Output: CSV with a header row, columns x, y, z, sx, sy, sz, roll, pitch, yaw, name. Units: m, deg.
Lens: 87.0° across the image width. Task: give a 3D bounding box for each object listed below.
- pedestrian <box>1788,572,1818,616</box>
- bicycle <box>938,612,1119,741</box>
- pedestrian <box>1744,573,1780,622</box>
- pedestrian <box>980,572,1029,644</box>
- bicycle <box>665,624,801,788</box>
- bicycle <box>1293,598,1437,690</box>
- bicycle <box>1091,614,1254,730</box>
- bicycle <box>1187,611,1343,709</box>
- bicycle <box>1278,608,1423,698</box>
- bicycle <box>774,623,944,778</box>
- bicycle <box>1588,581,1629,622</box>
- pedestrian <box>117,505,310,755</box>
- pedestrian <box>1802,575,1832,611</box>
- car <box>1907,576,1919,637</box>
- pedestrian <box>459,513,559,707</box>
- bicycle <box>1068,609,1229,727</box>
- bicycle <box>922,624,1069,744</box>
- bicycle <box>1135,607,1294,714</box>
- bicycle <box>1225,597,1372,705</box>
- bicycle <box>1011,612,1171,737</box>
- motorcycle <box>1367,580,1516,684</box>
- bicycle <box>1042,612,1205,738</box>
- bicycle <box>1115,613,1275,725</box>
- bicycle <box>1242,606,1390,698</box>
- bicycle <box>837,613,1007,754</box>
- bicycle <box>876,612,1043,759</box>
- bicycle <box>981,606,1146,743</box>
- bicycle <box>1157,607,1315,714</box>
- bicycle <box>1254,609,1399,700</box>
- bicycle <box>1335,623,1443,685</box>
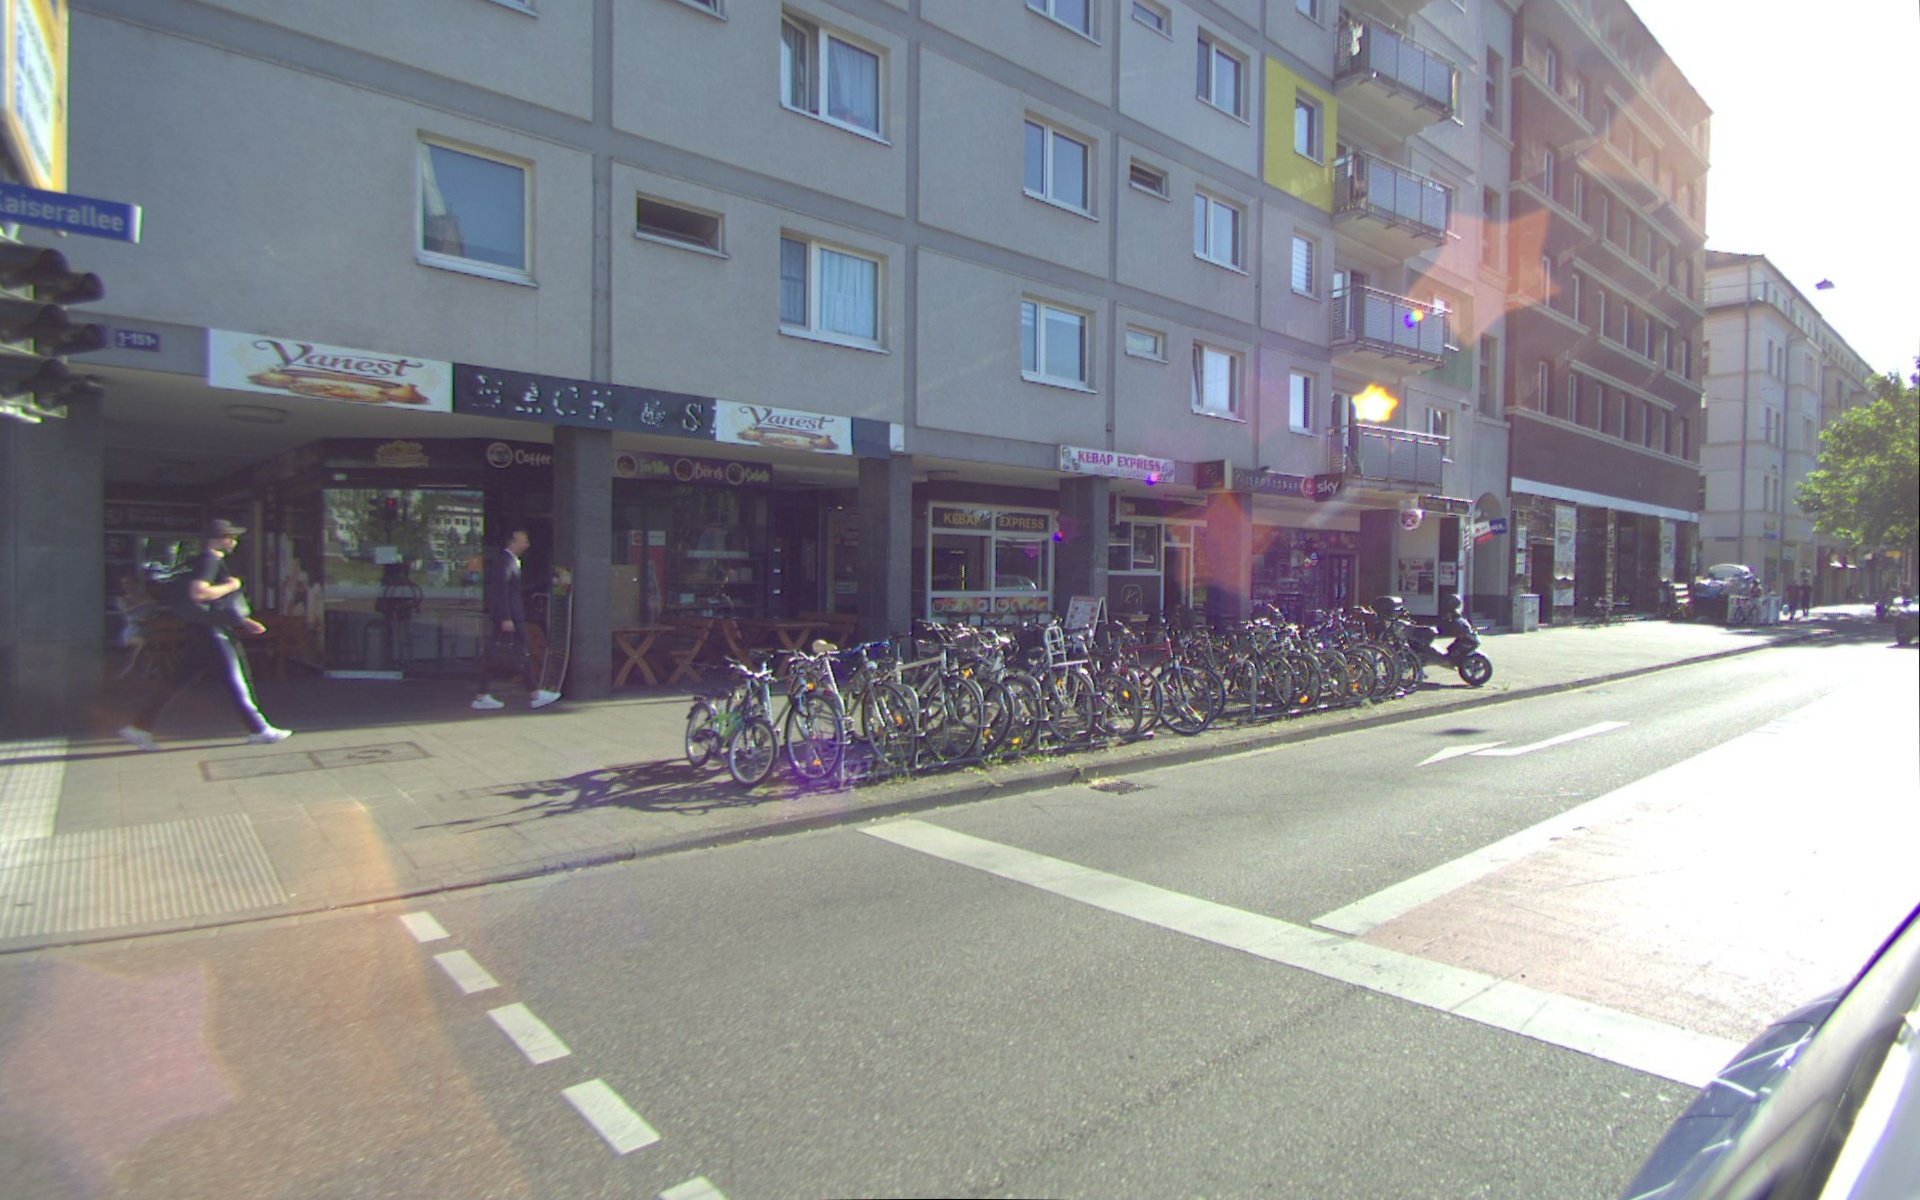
x,y,z,sx,sy,sz,roll,pitch,yaw,name
37.236,-0.280,44.708,0.860,1.907,1.209,1,1,32,pedestrian
0.603,0.669,9.560,0.522,1.096,1.815,-1,0,-44,bicycle
28.043,-0.093,35.396,0.658,1.671,0.774,0,1,-29,pedestrian
0.940,0.149,21.530,0.701,1.493,0.765,0,1,-42,pedestrian
-1.734,0.740,7.591,0.403,1.023,1.432,-1,3,-39,bicycle
5.826,0.595,14.628,1.818,1.189,0.692,2,2,45,bicycle
2.272,0.737,11.020,0.408,1.073,1.820,0,3,-43,bicycle
3.662,0.689,12.282,1.819,1.024,0.409,3,3,45,bicycle
5.242,0.681,13.678,1.819,1.073,0.409,2,2,45,bicycle
-0.855,0.754,8.174,0.404,1.023,1.701,-1,3,-44,bicycle
20.642,0.037,32.201,1.899,1.257,0.597,-1,2,-42,bicycle
-6.062,0.210,8.228,1.190,1.858,0.864,0,1,-42,pedestrian
40.412,-0.345,47.740,0.858,1.669,0.974,1,1,27,pedestrian
28.734,0.181,28.736,4.039,1.708,1.903,0,1,-35,car
-4.683,0.089,10.497,0.857,1.909,0.792,0,1,-31,pedestrian
1.954,0.673,10.734,0.408,1.073,1.821,-1,2,-41,bicycle
0.291,0.727,9.218,0.380,0.978,1.545,-1,0,-41,bicycle
2.880,0.652,11.612,0.409,1.082,1.818,-3,3,-45,bicycle
4.271,0.611,12.889,1.778,1.244,0.409,2,2,45,bicycle
1.296,0.714,10.314,0.408,1.068,1.772,-1,3,-42,bicycle
7.473,0.450,15.780,0.875,1.446,1.880,-1,4,-45,motorcycle
1.648,0.729,10.479,0.398,1.127,1.821,0,2,-41,bicycle
2.585,0.733,11.336,0.408,1.073,1.819,-2,3,-44,bicycle
4.591,0.636,13.145,1.818,1.073,0.409,1,2,45,bicycle
-0.370,0.664,8.703,0.399,1.090,1.753,-1,0,-43,bicycle
-0.046,0.703,8.958,0.393,1.113,1.752,-1,2,-43,bicycle
0.976,0.680,9.924,0.522,1.125,1.640,-1,4,-43,bicycle
3.206,0.676,11.899,1.819,1.082,0.409,3,4,45,bicycle
4.835,0.689,13.459,0.408,1.073,1.819,-2,3,-44,bicycle
6.349,0.786,15.015,1.345,0.774,0.562,4,3,45,bicycle
